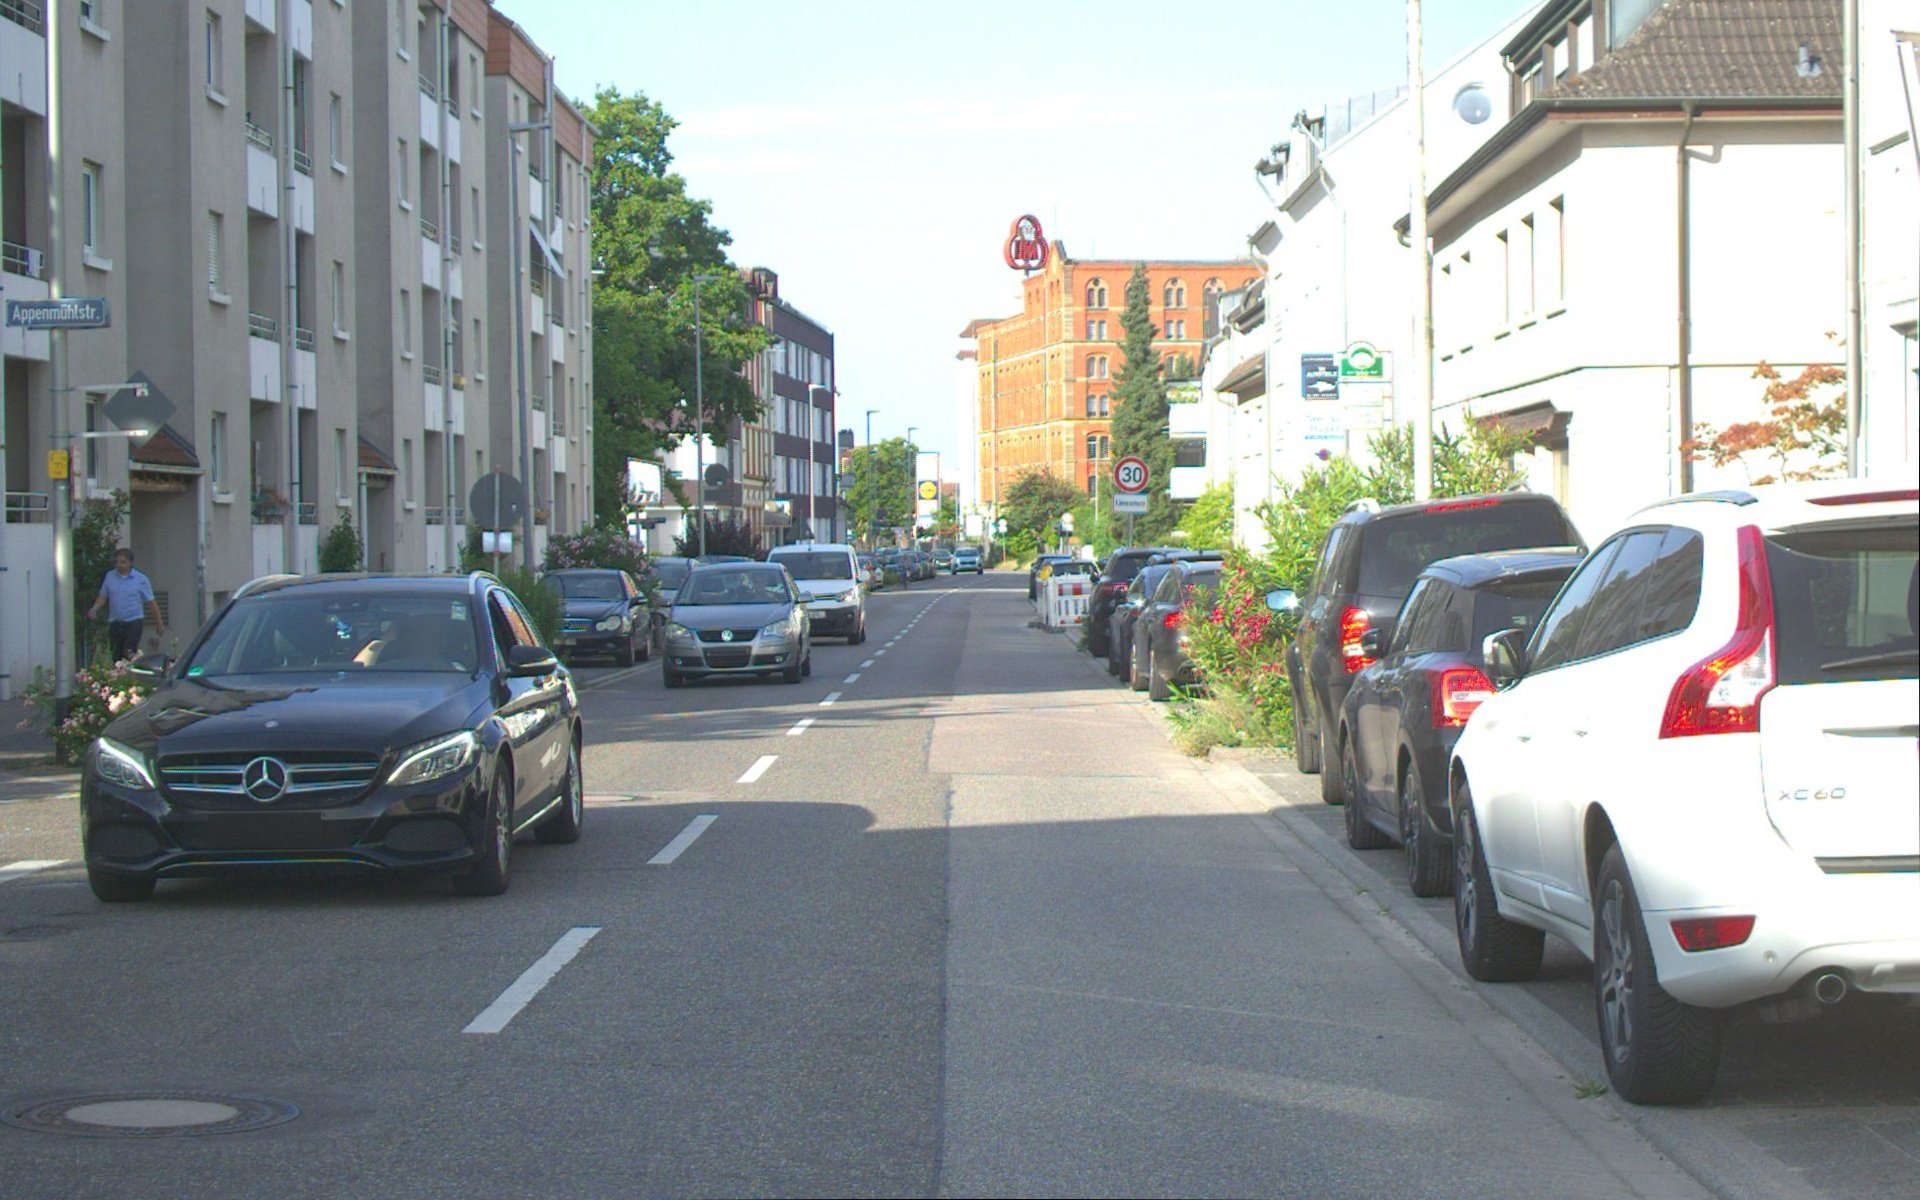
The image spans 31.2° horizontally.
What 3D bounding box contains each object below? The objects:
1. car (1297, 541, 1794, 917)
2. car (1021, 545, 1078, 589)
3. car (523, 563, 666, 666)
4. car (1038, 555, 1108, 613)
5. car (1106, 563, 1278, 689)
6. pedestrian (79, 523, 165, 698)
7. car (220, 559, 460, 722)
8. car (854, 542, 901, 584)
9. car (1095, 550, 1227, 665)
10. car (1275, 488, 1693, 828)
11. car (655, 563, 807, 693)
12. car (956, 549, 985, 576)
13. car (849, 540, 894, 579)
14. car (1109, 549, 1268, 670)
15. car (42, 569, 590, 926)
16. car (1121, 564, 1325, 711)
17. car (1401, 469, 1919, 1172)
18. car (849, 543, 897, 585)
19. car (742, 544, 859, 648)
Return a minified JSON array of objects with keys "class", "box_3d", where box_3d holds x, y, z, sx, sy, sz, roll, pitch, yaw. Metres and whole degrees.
[{"class":"car","box_3d":[2.679,0.520,16.709,1.589,1.523,4.614,-2,1,0]},{"class":"car","box_3d":[3.018,-1.145,116.600,1.859,1.467,4.000,0,1,0]},{"class":"car","box_3d":[-5.316,0.183,50.442,1.686,1.401,4.084,0,1,0]},{"class":"car","box_3d":[3.012,-0.450,92.260,1.830,1.477,3.943,-1,1,1]},{"class":"car","box_3d":[2.773,0.275,41.988,1.830,1.415,4.609,0,1,1]},{"class":"pedestrian","box_3d":[-8.815,0.101,36.185,0.718,1.812,0.745,0,1,1]},{"class":"car","box_3d":[-5.777,0.338,32.393,1.640,1.391,3.672,-1,1,-1]},{"class":"car","box_3d":[-3.849,-1.745,161.856,1.993,1.901,4.000,-1,1,2]},{"class":"car","box_3d":[3.036,0.141,52.618,1.830,1.624,4.462,2,-1,2]},{"class":"car","box_3d":[3.155,0.270,21.618,2.076,1.849,4.610,-2,1,3]},{"class":"car","box_3d":[-2.739,0.301,41.707,1.617,1.450,3.685,-1,1,-1]},{"class":"car","box_3d":[0.645,-2.323,211.360,1.763,1.611,4.000,-1,1,0]},{"class":"car","box_3d":[-4.304,-1.986,168.109,1.993,1.875,4.000,0,1,1]},{"class":"car","box_3d":[3.109,0.098,47.450,1.830,1.555,4.317,-1,1,-1]},{"class":"car","box_3d":[-2.883,0.590,16.297,1.830,1.415,4.209,-1,1,-1]},{"class":"car","box_3d":[2.727,0.353,36.523,1.779,1.415,4.496,0,1,-1]},{"class":"car","box_3d":[2.592,0.471,10.599,1.812,1.678,4.477,-3,1,0]},{"class":"car","box_3d":[-3.976,-1.660,157.870,1.993,1.905,3.689,-1,1,2]},{"class":"car","box_3d":[-2.804,-0.102,61.336,1.922,1.761,4.338,-1,1,-1]}]
